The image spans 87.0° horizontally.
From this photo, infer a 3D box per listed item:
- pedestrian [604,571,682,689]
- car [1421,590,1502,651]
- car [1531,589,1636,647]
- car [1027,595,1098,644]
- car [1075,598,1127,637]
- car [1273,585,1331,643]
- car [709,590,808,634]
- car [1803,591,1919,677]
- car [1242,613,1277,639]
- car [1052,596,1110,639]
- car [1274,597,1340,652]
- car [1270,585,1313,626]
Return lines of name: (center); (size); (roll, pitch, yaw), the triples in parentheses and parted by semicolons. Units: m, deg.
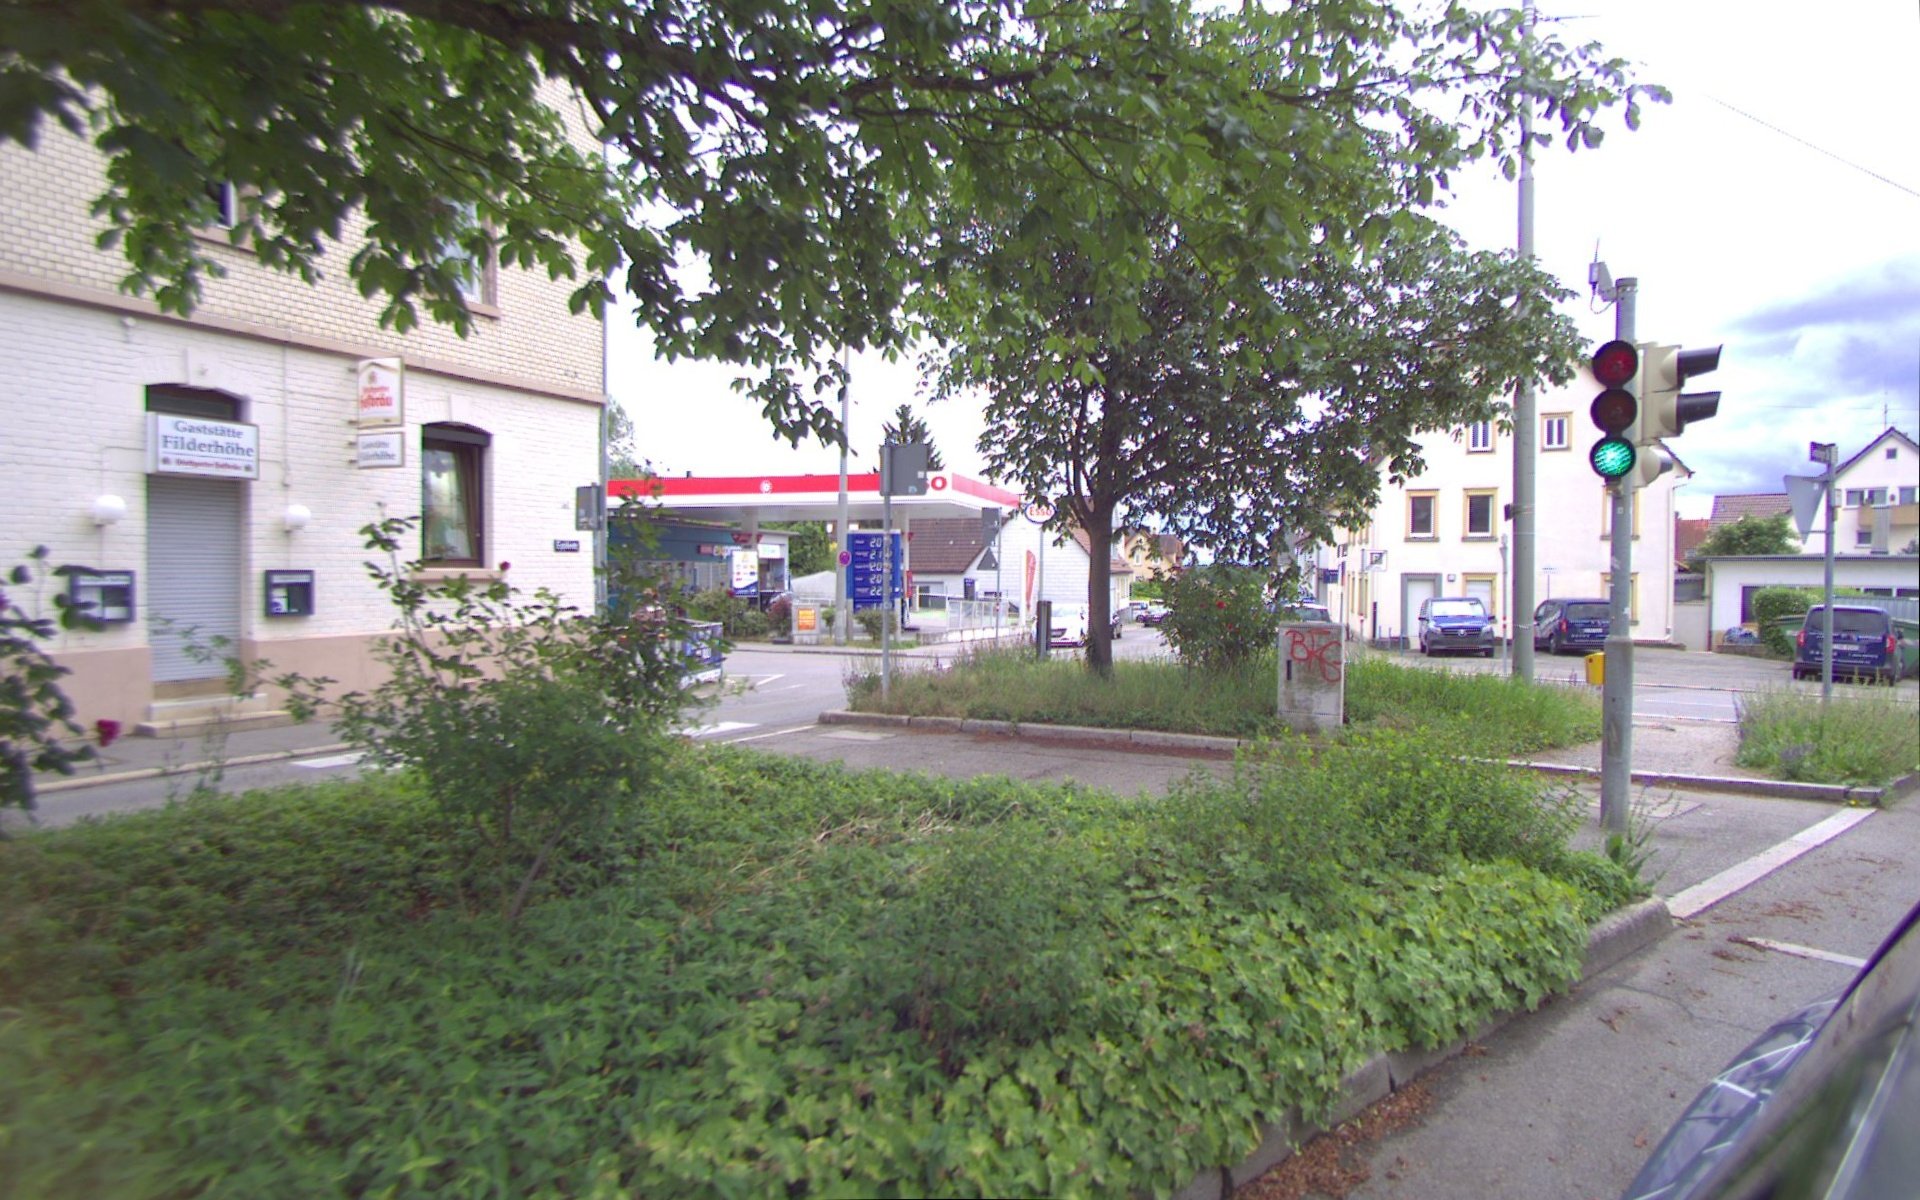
pedestrian: (-4.918, 0.461, 15.746); (0.844, 1.755, 1.021); (0, -2, 2)
car: (16.139, 0.663, 32.796); (1.879, 1.826, 4.858); (0, -1, 21)
car: (19.852, 0.582, 32.417); (1.843, 1.750, 3.978); (0, -1, 16)
car: (3.604, 0.681, 35.094); (1.751, 1.498, 3.810); (3, 0, 16)
car: (6.187, 0.792, 44.181); (1.699, 1.616, 3.978); (0, -1, 17)
car: (12.995, 0.547, 38.696); (1.750, 1.968, 4.302); (3, -1, 15)
car: (-7.661, 0.421, 38.911); (1.897, 1.480, 4.461); (1, 2, 16)
car: (21.558, 0.790, 24.105); (4.496, 1.761, 1.748); (2, 1, -44)
car: (20.657, 1.775, 69.781); (2.251, 1.753, 3.978); (0, -1, 17)
car: (4.801, 0.646, 39.807); (1.605, 1.493, 3.747); (1, 1, 18)
car: (11.079, 0.790, 32.499); (1.750, 1.639, 3.979); (0, -1, 15)
car: (14.904, 0.276, 45.613); (1.699, 1.753, 3.978); (0, -1, 17)
